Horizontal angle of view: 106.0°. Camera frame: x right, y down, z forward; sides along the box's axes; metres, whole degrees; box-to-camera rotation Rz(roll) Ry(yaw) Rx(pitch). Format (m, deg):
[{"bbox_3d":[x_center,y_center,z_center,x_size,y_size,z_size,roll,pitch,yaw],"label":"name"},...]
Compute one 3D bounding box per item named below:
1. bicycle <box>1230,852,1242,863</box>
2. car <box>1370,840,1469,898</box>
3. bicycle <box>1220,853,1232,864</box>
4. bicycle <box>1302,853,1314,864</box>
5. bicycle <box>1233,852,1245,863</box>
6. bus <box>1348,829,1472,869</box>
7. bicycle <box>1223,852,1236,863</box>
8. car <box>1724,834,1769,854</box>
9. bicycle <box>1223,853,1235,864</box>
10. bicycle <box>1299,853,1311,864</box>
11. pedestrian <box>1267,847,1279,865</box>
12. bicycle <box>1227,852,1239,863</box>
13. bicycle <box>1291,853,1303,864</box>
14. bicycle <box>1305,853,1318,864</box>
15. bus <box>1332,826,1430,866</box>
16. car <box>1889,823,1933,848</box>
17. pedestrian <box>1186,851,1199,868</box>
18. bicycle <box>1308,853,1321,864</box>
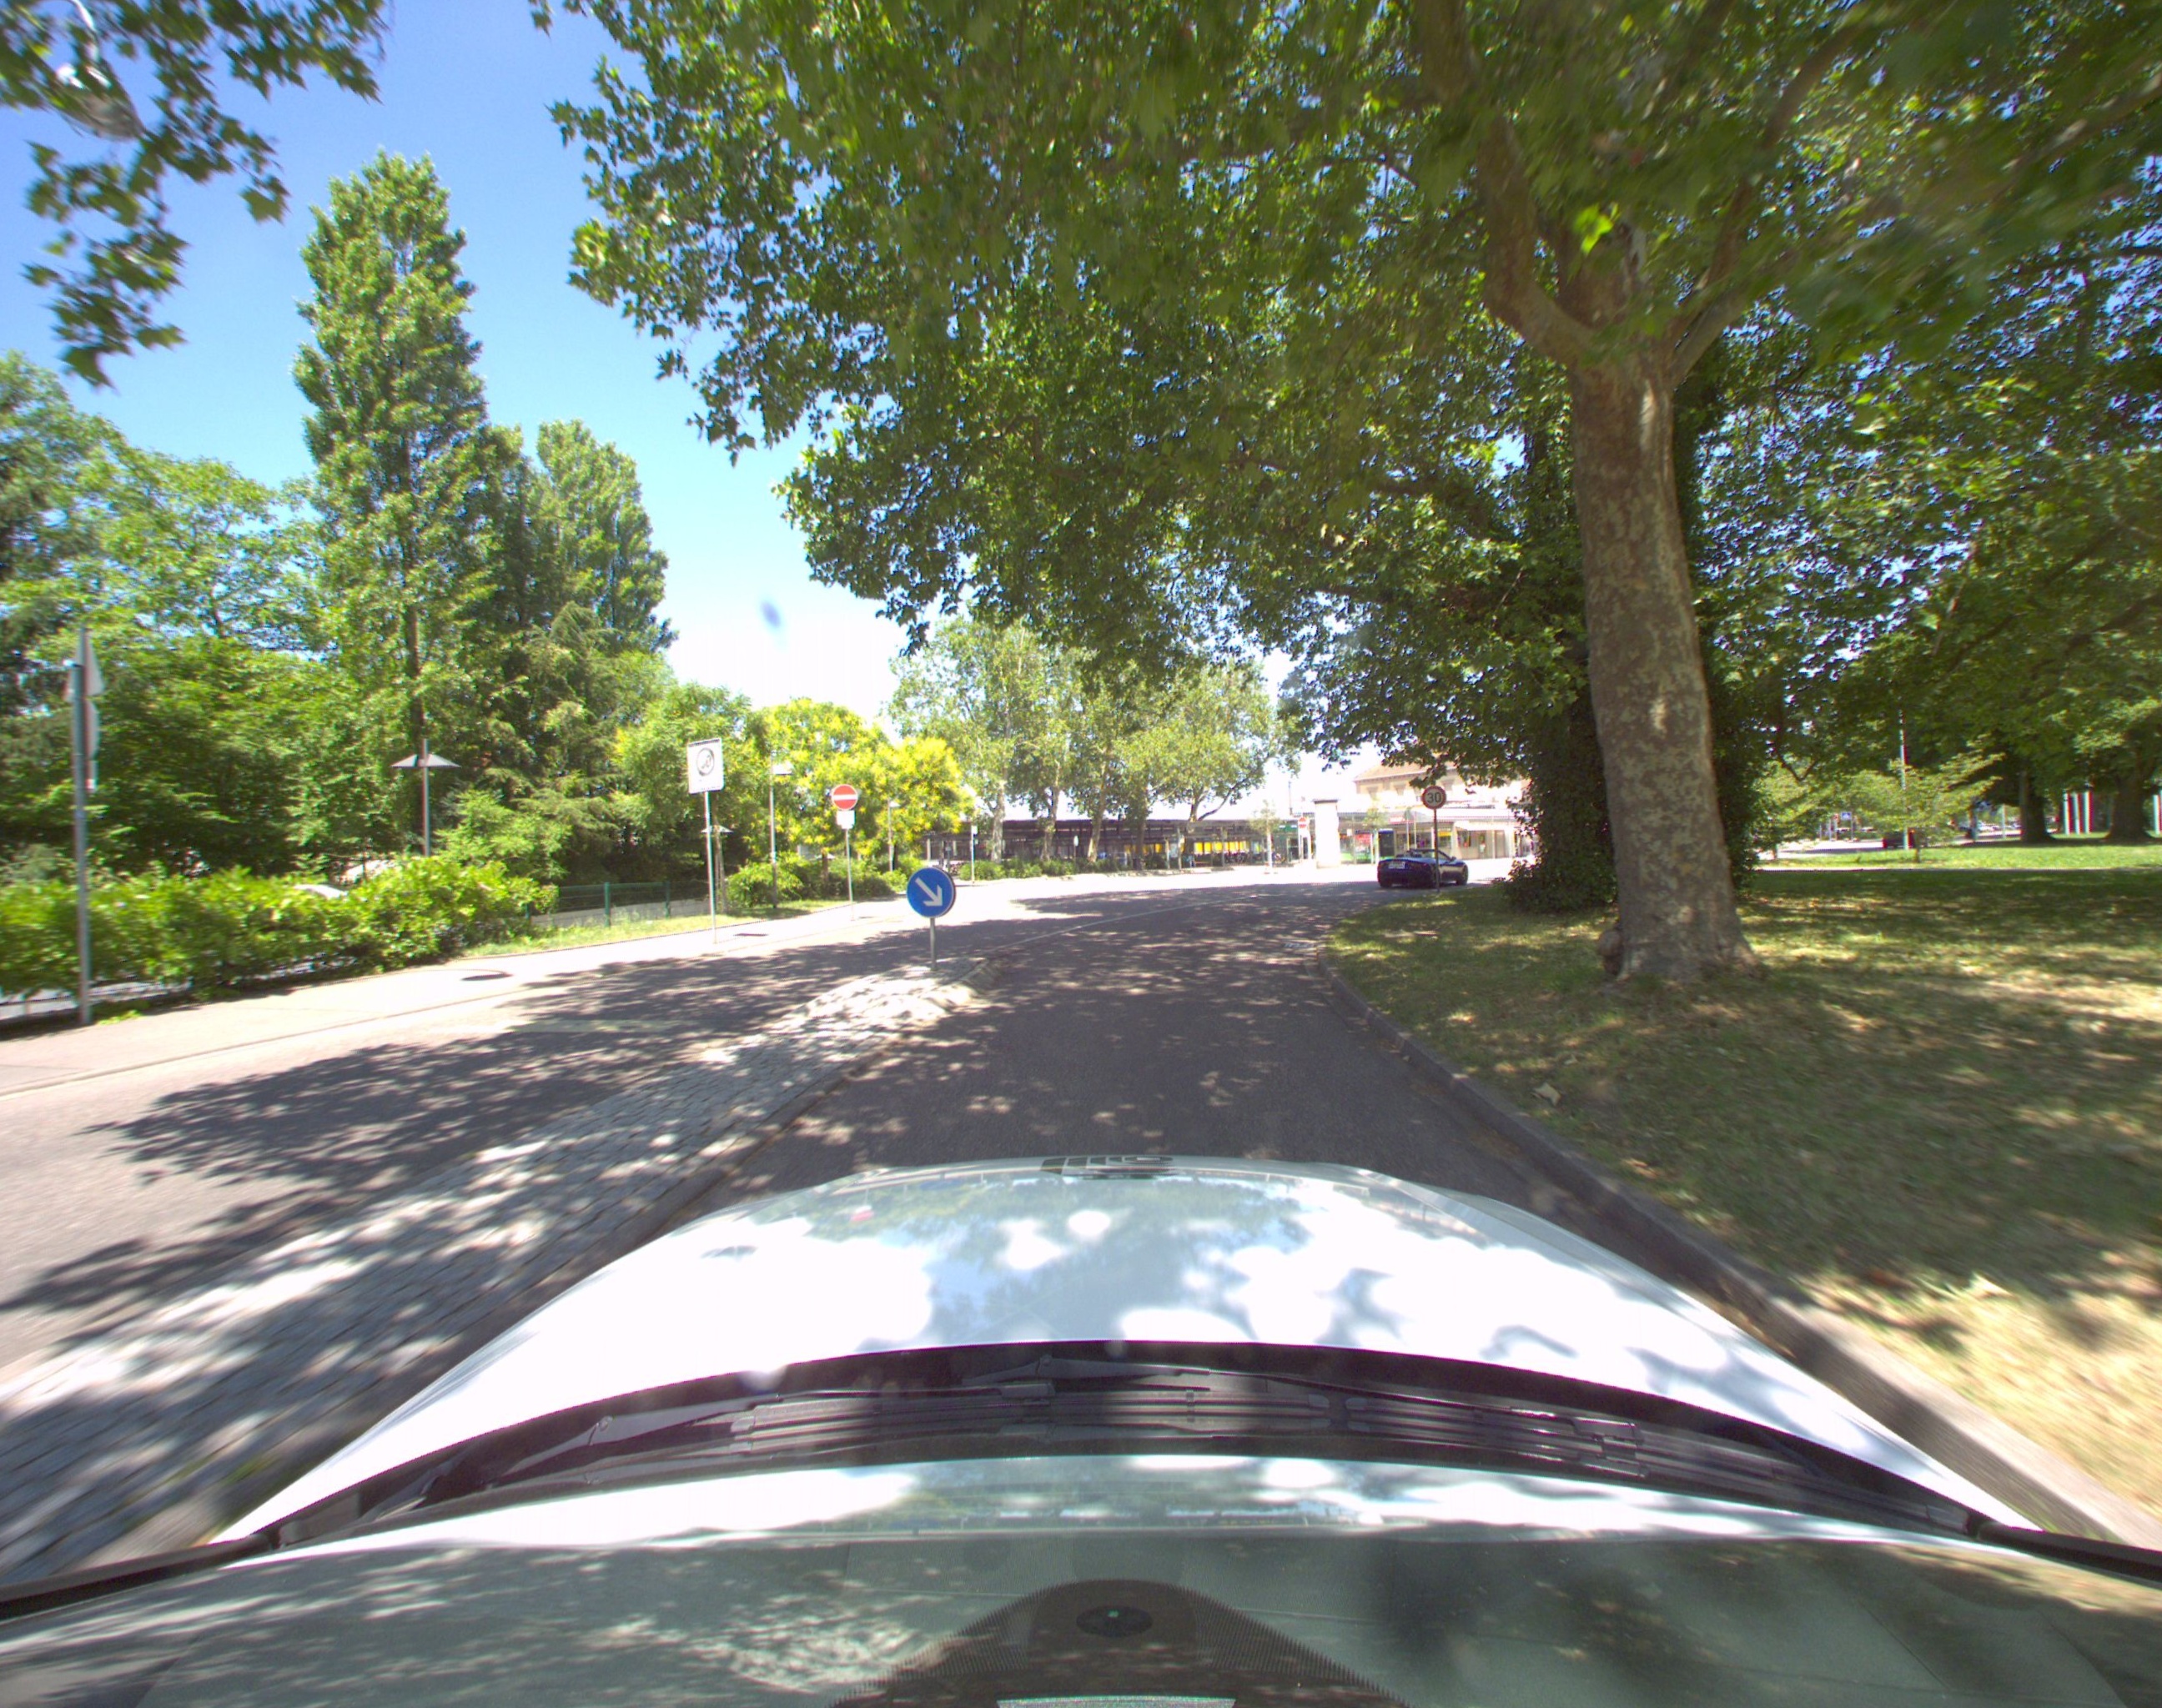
[{"bbox_3d":[15.972,0.407,84.049,0.387,1.094,1.371,0,-2,-32],"label":"bicycle"},{"bbox_3d":[11.957,0.481,28.657,2.104,1.848,4.074,-2,0,39],"label":"car"},{"bbox_3d":[15.202,0.452,85.249,0.387,1.094,1.371,0,-2,-32],"label":"bicycle"},{"bbox_3d":[24.504,0.490,87.961,0.387,1.093,1.371,-2,-1,-32],"label":"bicycle"},{"bbox_3d":[16.317,0.407,84.284,0.387,1.094,1.371,0,-2,-32],"label":"bicycle"},{"bbox_3d":[28.127,-0.500,69.115,13.953,3.041,2.654,-2,-1,-36],"label":"bus"},{"bbox_3d":[15.232,0.408,83.606,0.388,1.094,1.371,0,-2,-34],"label":"bicycle"},{"bbox_3d":[59.313,-0.884,72.566,4.175,1.444,1.801,-3,-4,-34],"label":"car"},{"bbox_3d":[15.553,0.452,85.499,0.387,1.094,1.371,0,-2,-32],"label":"bicycle"},{"bbox_3d":[24.121,0.488,87.691,0.368,1.100,1.391,-2,-1,-32],"label":"bicycle"},{"bbox_3d":[17.953,0.219,76.249,0.811,1.617,0.773,-2,0,37],"label":"pedestrian"},{"bbox_3d":[15.616,0.408,83.847,0.388,1.094,1.371,0,-2,-33],"label":"bicycle"},{"bbox_3d":[23.830,0.504,89.692,0.387,1.093,1.372,-2,0,-31],"label":"bicycle"},{"bbox_3d":[25.016,0.476,88.282,0.387,1.093,1.371,-2,-1,-32],"label":"bicycle"},{"bbox_3d":[29.455,-0.840,79.506,12.272,3.526,2.146,-2,0,-34],"label":"bus"},{"bbox_3d":[55.080,-1.237,53.997,3.725,1.478,1.704,-2,-1,-40],"label":"car"},{"bbox_3d":[9.682,0.487,70.741,0.826,1.463,0.600,-2,-1,-37],"label":"pedestrian"},{"bbox_3d":[25.383,0.473,88.523,0.387,1.093,1.371,-2,-1,-32],"label":"bicycle"}]
